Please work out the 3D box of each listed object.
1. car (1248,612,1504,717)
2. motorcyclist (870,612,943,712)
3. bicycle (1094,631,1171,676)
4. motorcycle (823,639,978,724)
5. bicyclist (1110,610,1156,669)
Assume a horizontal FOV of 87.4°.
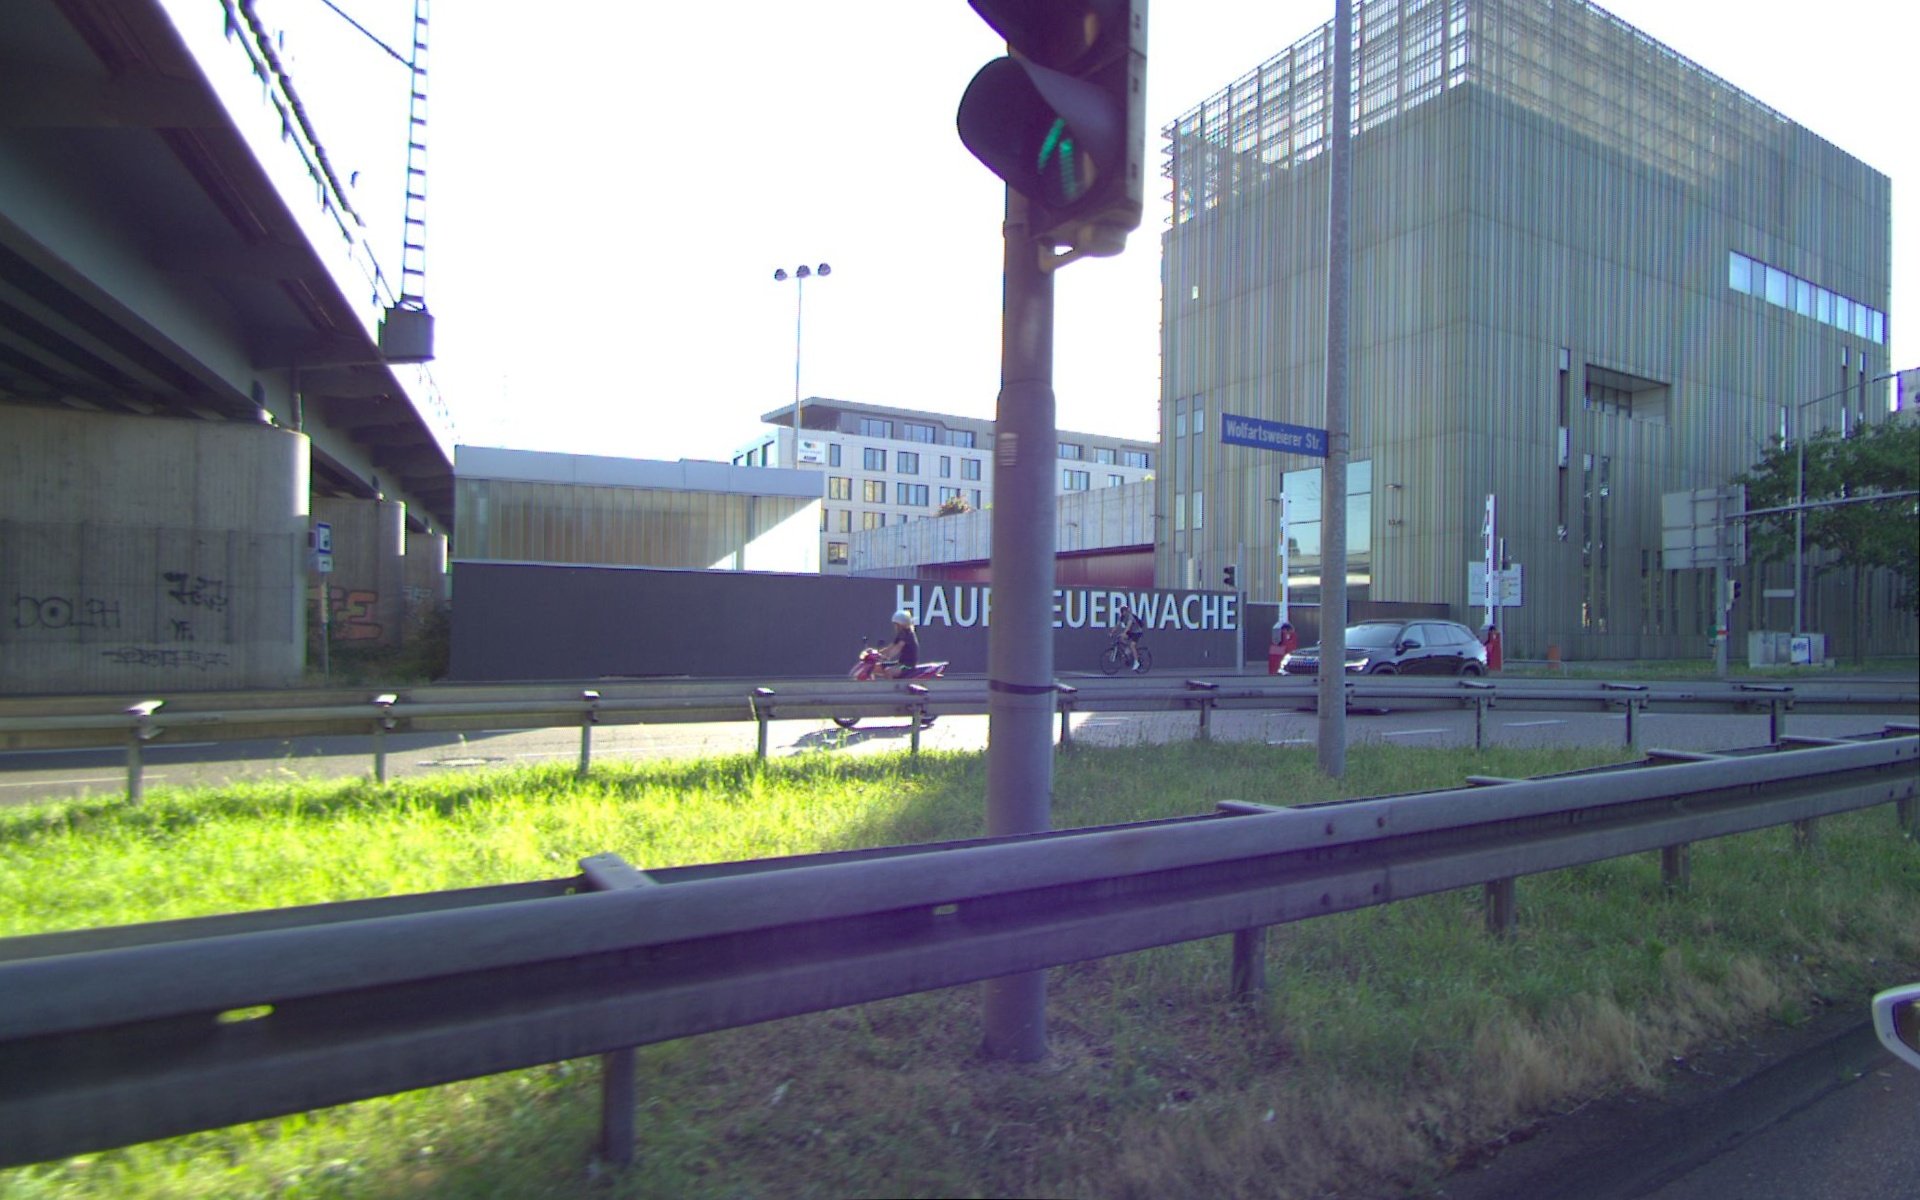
[{"bbox_3d":[7.697,1.205,18.497,4.627,1.718,1.984,3,-5,-31],"label":"car"},{"bbox_3d":[-0.810,0.921,15.147,0.856,1.443,0.679,2,0,-27],"label":"motorcyclist"},{"bbox_3d":[4.743,1.458,27.616,2.053,1.172,0.703,0,1,-26],"label":"bicycle"},{"bbox_3d":[-0.882,1.219,15.127,2.209,1.171,0.678,2,0,-26],"label":"motorcycle"},{"bbox_3d":[4.750,1.080,27.599,0.927,1.584,0.722,2,0,-25],"label":"bicyclist"}]
